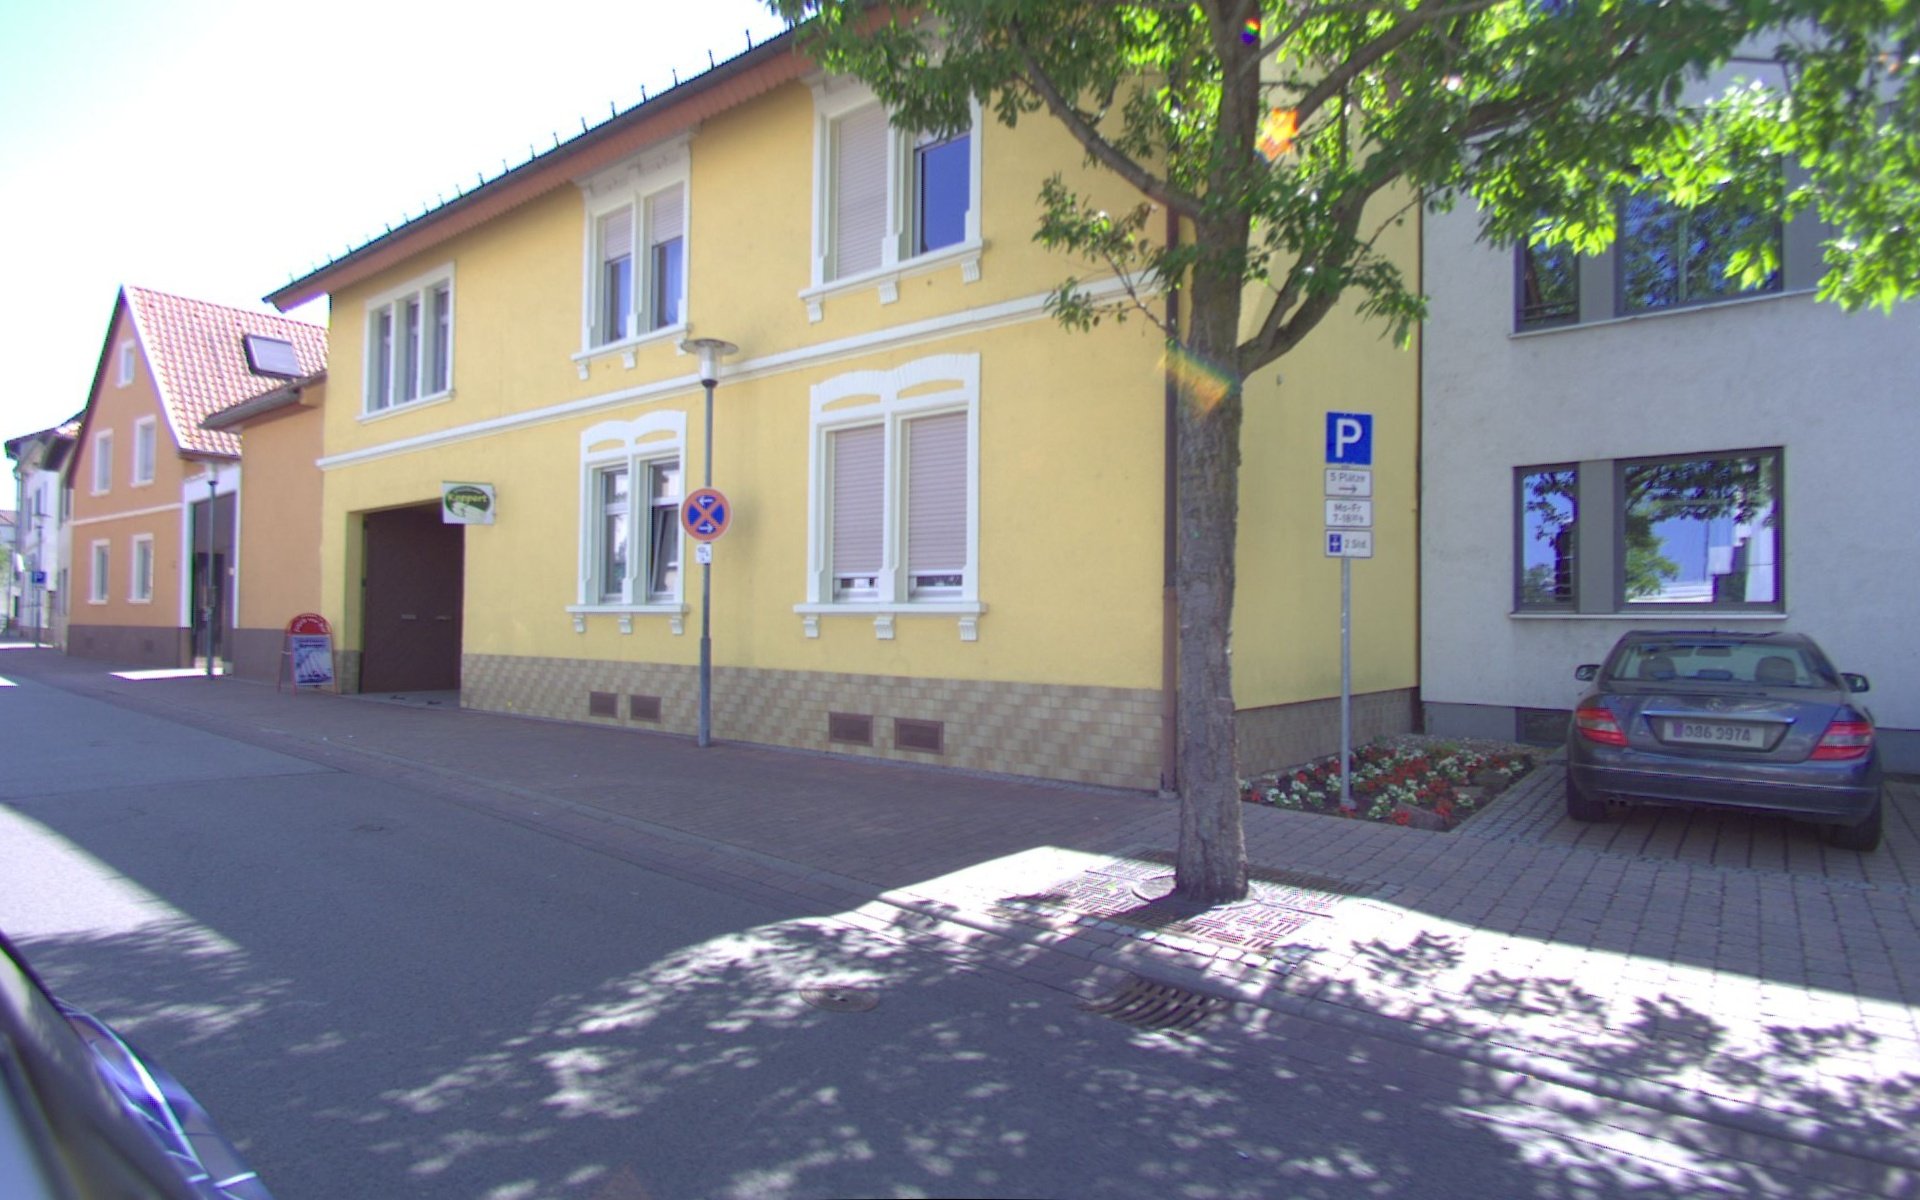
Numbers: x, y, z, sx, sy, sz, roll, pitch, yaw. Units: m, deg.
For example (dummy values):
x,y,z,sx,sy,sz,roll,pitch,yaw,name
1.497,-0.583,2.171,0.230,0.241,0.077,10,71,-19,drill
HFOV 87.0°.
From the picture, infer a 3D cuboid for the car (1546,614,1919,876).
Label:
x,y,z,sx,sy,sz,roll,pitch,yaw,name
5.845,0.846,7.770,1.968,1.442,3.952,-1,-1,35,car
